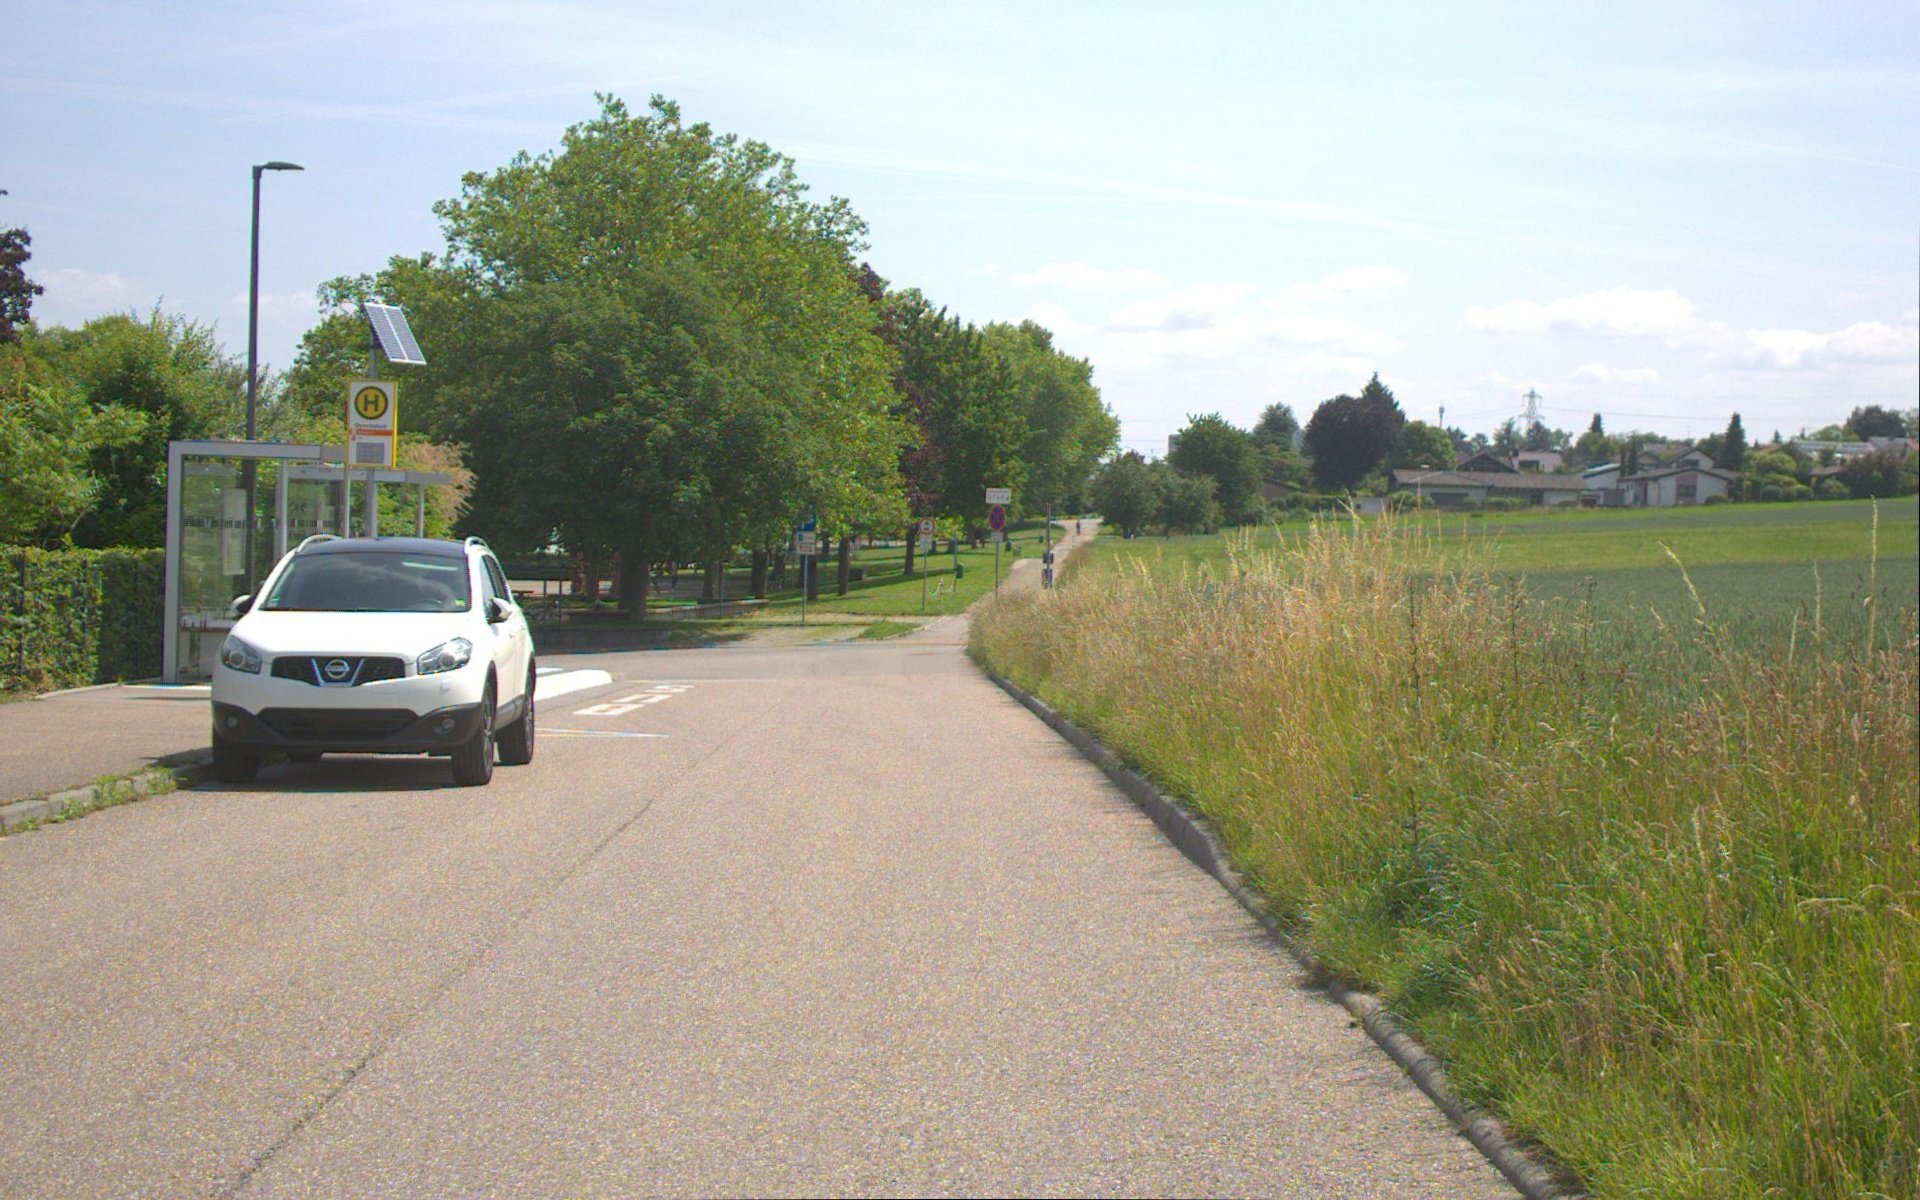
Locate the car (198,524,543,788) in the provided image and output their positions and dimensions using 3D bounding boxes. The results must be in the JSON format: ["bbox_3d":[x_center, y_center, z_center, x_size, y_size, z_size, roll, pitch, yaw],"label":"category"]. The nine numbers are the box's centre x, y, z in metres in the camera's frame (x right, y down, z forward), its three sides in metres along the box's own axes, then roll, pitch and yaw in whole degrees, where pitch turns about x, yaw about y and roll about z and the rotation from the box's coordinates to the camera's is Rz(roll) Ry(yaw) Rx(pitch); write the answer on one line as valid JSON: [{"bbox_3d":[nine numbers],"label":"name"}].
[{"bbox_3d":[-3.945,0.342,23.649,1.734,1.628,4.353,1,0,-2],"label":"car"}]

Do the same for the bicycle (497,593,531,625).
[{"bbox_3d":[-14.965,0.295,115.359,0.595,1.035,1.892,-1,1,10],"label":"bicycle"}]
